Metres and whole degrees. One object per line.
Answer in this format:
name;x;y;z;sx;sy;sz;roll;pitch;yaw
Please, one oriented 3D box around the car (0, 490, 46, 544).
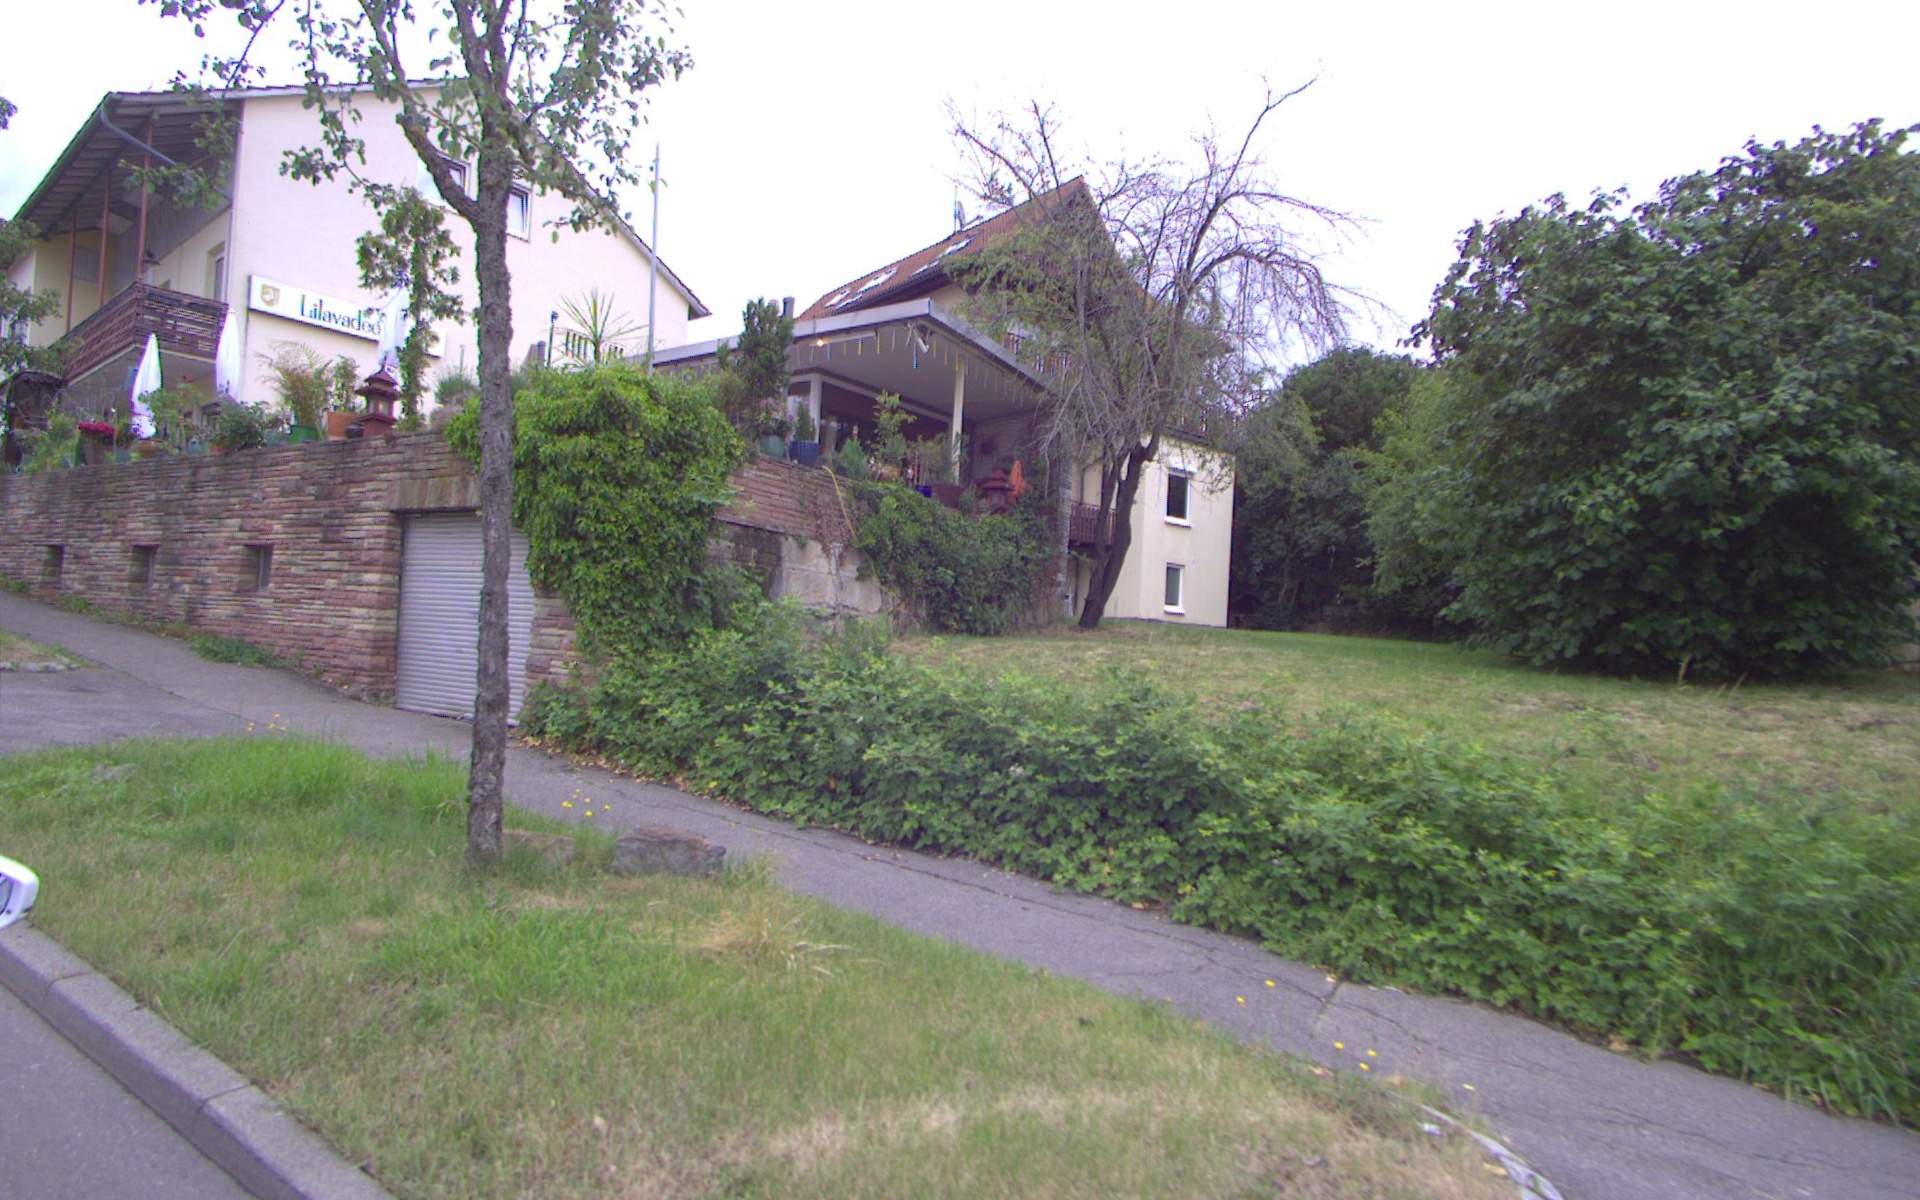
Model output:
car;-34.115;-3.010;34.218;4.215;1.612;1.970;6;-3;-37
